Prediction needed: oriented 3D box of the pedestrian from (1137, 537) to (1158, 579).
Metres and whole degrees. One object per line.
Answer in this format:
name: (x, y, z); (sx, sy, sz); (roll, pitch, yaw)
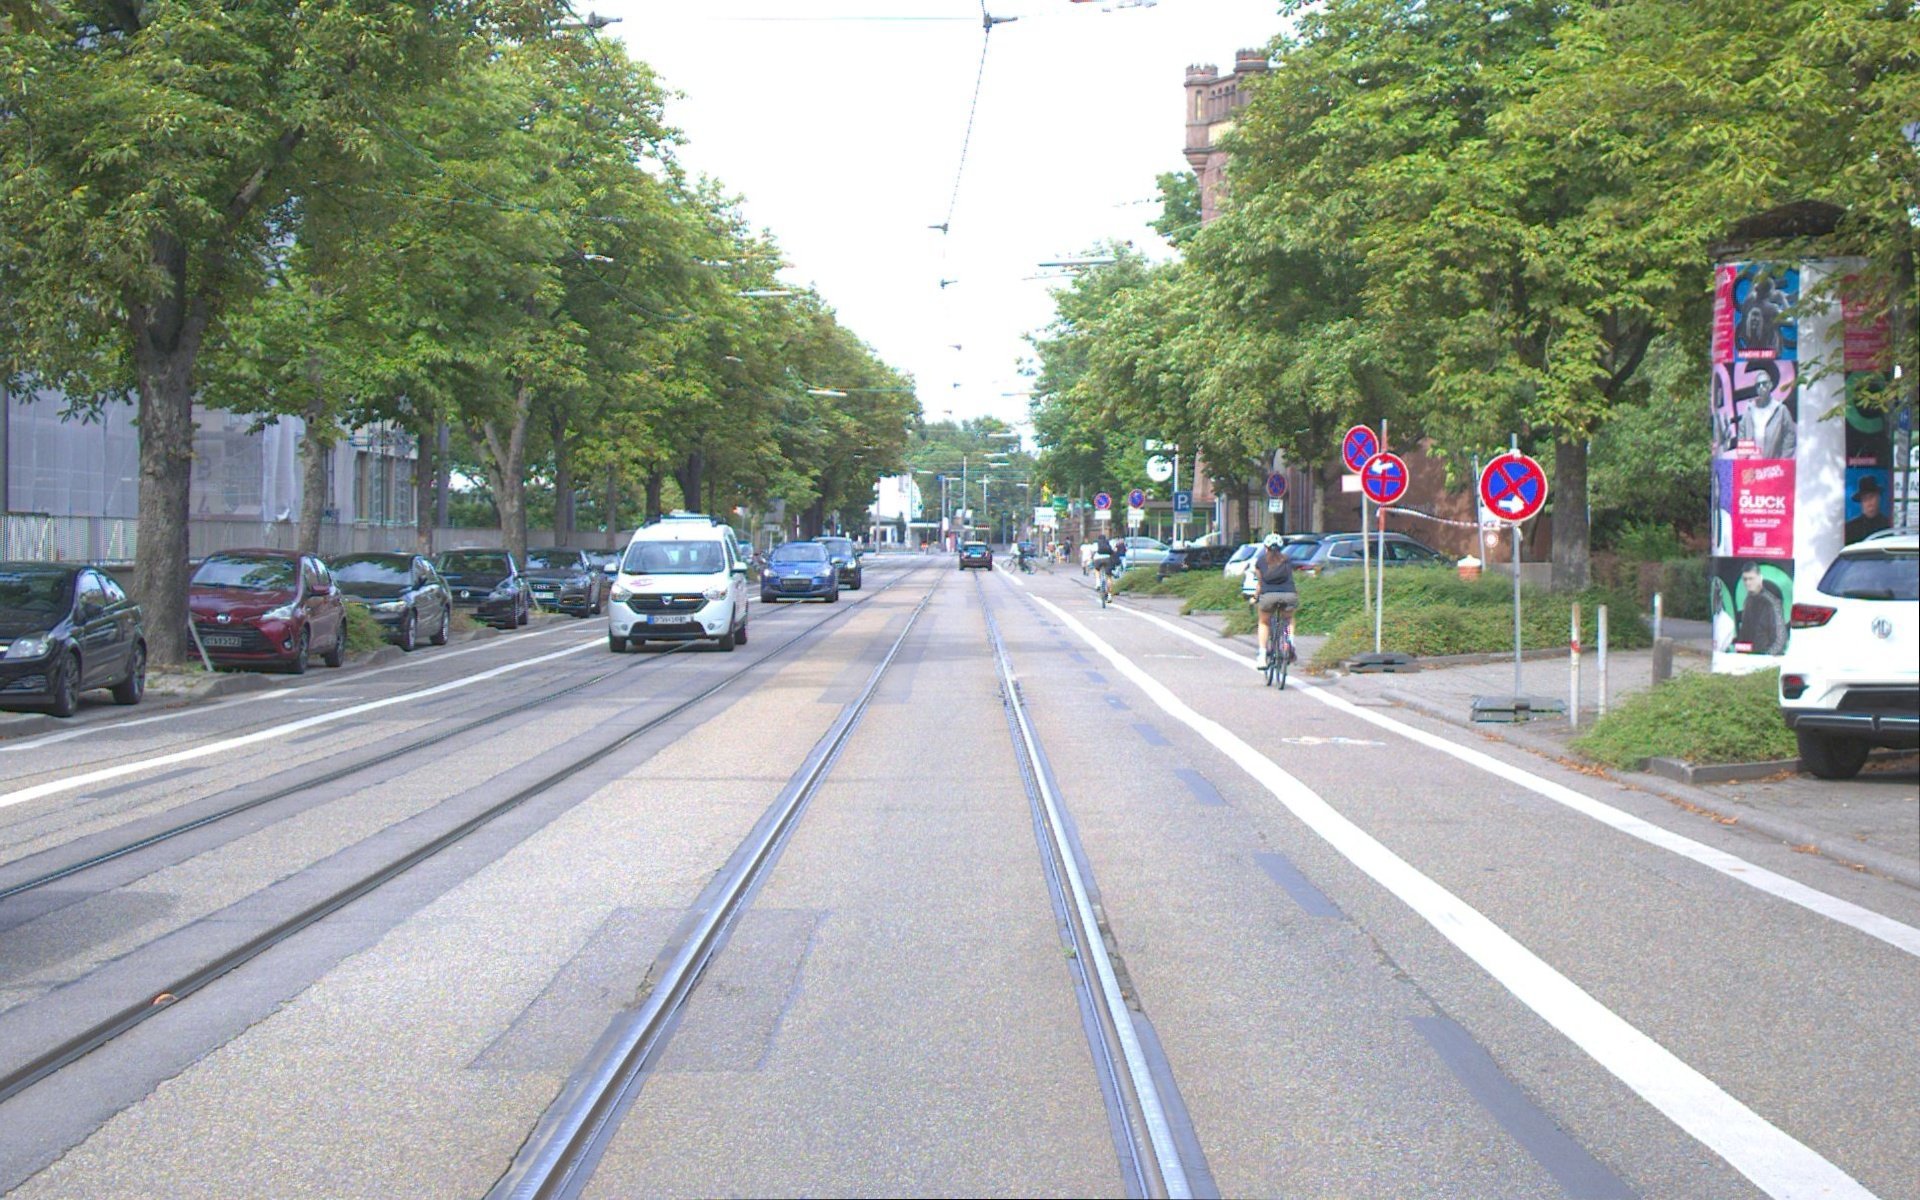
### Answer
pedestrian: (7.878, -1.762, 144.603); (0.748, 1.783, 0.730); (1, 0, 15)

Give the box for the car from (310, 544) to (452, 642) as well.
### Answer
car: (-8.736, -0.128, 52.115); (1.590, 1.398, 3.963); (1, 1, -2)

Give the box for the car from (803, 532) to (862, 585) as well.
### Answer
car: (-4.036, -1.337, 109.152); (1.732, 1.623, 4.378); (-1, 1, -1)

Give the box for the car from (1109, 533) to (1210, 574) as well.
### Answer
car: (8.375, -1.969, 144.749); (3.986, 1.687, 2.000); (1, 1, -5)

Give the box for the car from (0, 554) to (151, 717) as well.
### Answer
car: (-8.802, 0.289, 32.257); (1.590, 1.398, 3.963); (1, 1, -2)

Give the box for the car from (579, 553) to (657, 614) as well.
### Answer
car: (-8.230, -0.425, 82.946); (1.590, 1.398, 3.963); (1, 1, -2)

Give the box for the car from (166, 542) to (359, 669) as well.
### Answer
car: (-8.648, 0.029, 42.914); (1.635, 1.491, 3.963); (1, 1, -1)

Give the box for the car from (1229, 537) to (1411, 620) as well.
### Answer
car: (7.173, -0.434, 68.390); (1.681, 1.597, 3.637); (1, 1, 45)

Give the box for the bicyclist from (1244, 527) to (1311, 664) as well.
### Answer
bicyclist: (3.428, -0.055, 37.169); (0.592, 1.454, 0.875); (1, 1, -2)

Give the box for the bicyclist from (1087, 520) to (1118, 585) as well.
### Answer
bicyclist: (3.304, -1.105, 79.804); (0.659, 1.491, 0.929); (1, 1, 1)

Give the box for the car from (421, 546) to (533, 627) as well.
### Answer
car: (-8.732, -0.270, 62.426); (1.590, 1.398, 3.963); (1, 1, -2)

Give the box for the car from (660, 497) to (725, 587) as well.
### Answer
car: (-8.263, -1.788, 106.487); (1.720, 2.695, 5.471); (1, 1, -2)

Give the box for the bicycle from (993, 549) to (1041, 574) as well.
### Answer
bicycle: (2.793, -1.891, 167.757); (2.275, 1.185, 0.768); (1, 1, 8)

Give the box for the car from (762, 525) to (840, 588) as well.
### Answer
car: (-3.865, -1.089, 84.095); (1.732, 1.491, 4.378); (0, 1, 0)

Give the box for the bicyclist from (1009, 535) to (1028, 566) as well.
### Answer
bicyclist: (2.847, -2.427, 167.743); (0.847, 1.499, 0.768); (1, 1, 8)

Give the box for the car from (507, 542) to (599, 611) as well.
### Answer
car: (-8.577, -0.518, 72.724); (1.590, 1.398, 3.963); (1, 1, -2)

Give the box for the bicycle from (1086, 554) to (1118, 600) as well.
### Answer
bicycle: (3.293, -0.543, 79.810); (0.663, 1.040, 1.841); (1, 1, 1)

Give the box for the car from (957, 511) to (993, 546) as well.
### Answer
car: (0.800, -3.779, 181.082); (1.795, 1.817, 4.679); (1, 1, -1)

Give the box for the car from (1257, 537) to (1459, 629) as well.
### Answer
car: (7.151, -0.314, 61.593); (1.681, 1.597, 3.637); (1, 1, 45)

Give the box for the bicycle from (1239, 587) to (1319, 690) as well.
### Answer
bicycle: (3.424, 0.397, 37.032); (0.592, 1.040, 1.978); (1, 1, -2)

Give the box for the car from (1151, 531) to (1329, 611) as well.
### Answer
car: (5.764, -0.589, 70.537); (1.681, 1.597, 3.637); (1, 1, 45)

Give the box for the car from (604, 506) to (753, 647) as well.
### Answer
car: (-3.930, -0.361, 48.584); (1.732, 1.878, 4.378); (1, 1, 0)

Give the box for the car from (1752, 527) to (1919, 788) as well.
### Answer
car: (6.916, 0.342, 22.551); (1.681, 1.597, 3.637); (1, 1, 45)
